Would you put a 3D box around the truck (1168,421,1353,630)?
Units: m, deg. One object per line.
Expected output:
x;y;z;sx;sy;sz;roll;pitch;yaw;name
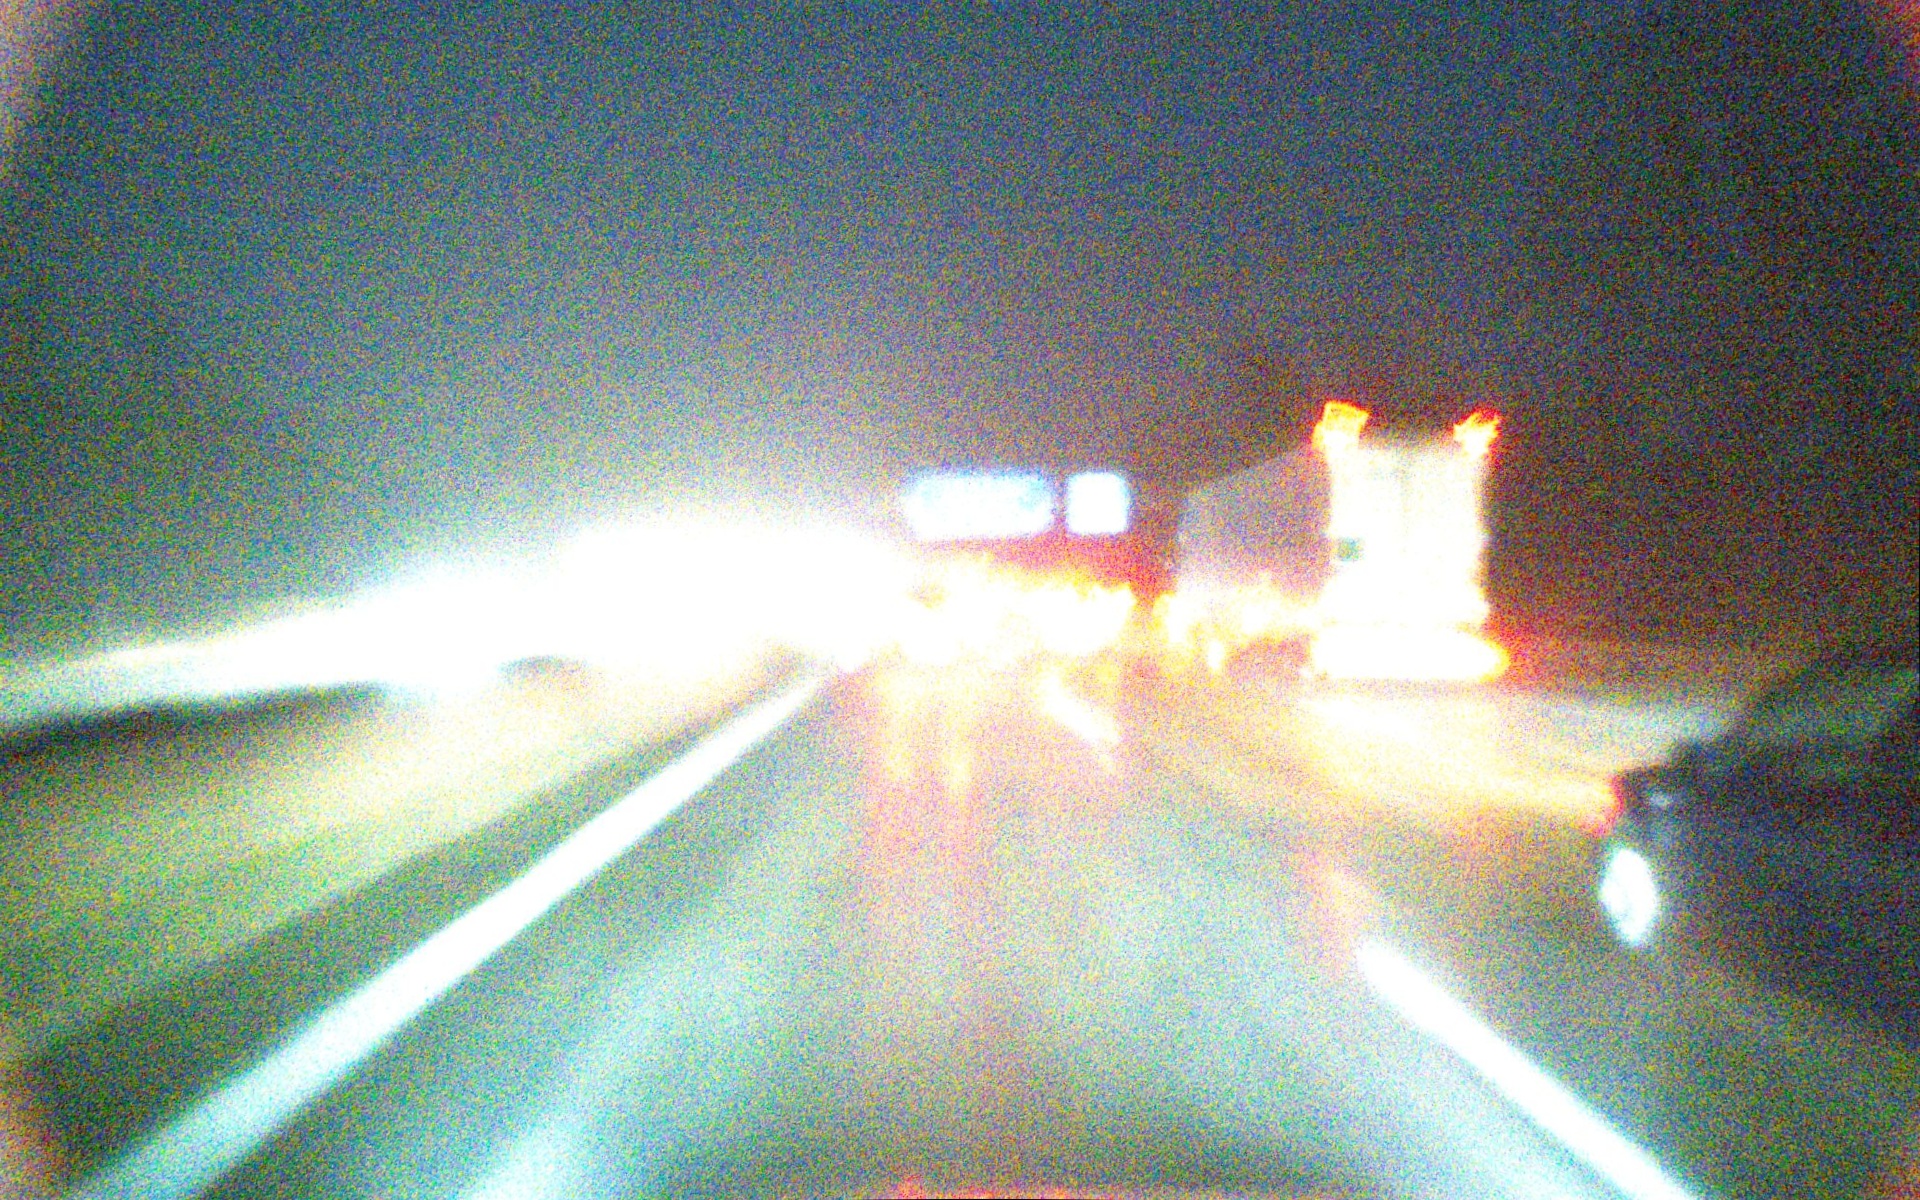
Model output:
6.769;-1.559;38.396;2.747;4.341;7.446;1;0;-1;truck

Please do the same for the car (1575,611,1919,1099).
3.625;0.775;5.561;1.580;1.437;3.790;1;0;-2;car

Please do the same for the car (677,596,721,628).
-13.386;0.575;84.854;1.719;1.552;4.114;-1;0;-2;car

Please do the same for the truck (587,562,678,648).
-18.111;0.275;92.282;2.871;4.402;11.433;-2;0;-1;truck

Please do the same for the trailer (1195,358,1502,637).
6.902;-1.593;31.739;2.747;4.286;12.093;1;0;-1;trailer

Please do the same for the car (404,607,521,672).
-13.370;1.028;44.723;1.823;1.609;4.512;1;0;-1;car

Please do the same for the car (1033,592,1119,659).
2.930;0.618;42.550;1.846;1.616;3.999;1;0;-1;car

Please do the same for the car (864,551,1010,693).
-0.557;0.387;33.872;2.655;2.578;5.828;-2;1;-3;car

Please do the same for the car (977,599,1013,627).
2.147;0.783;102.061;2.093;1.646;4.000;1;0;0;car
